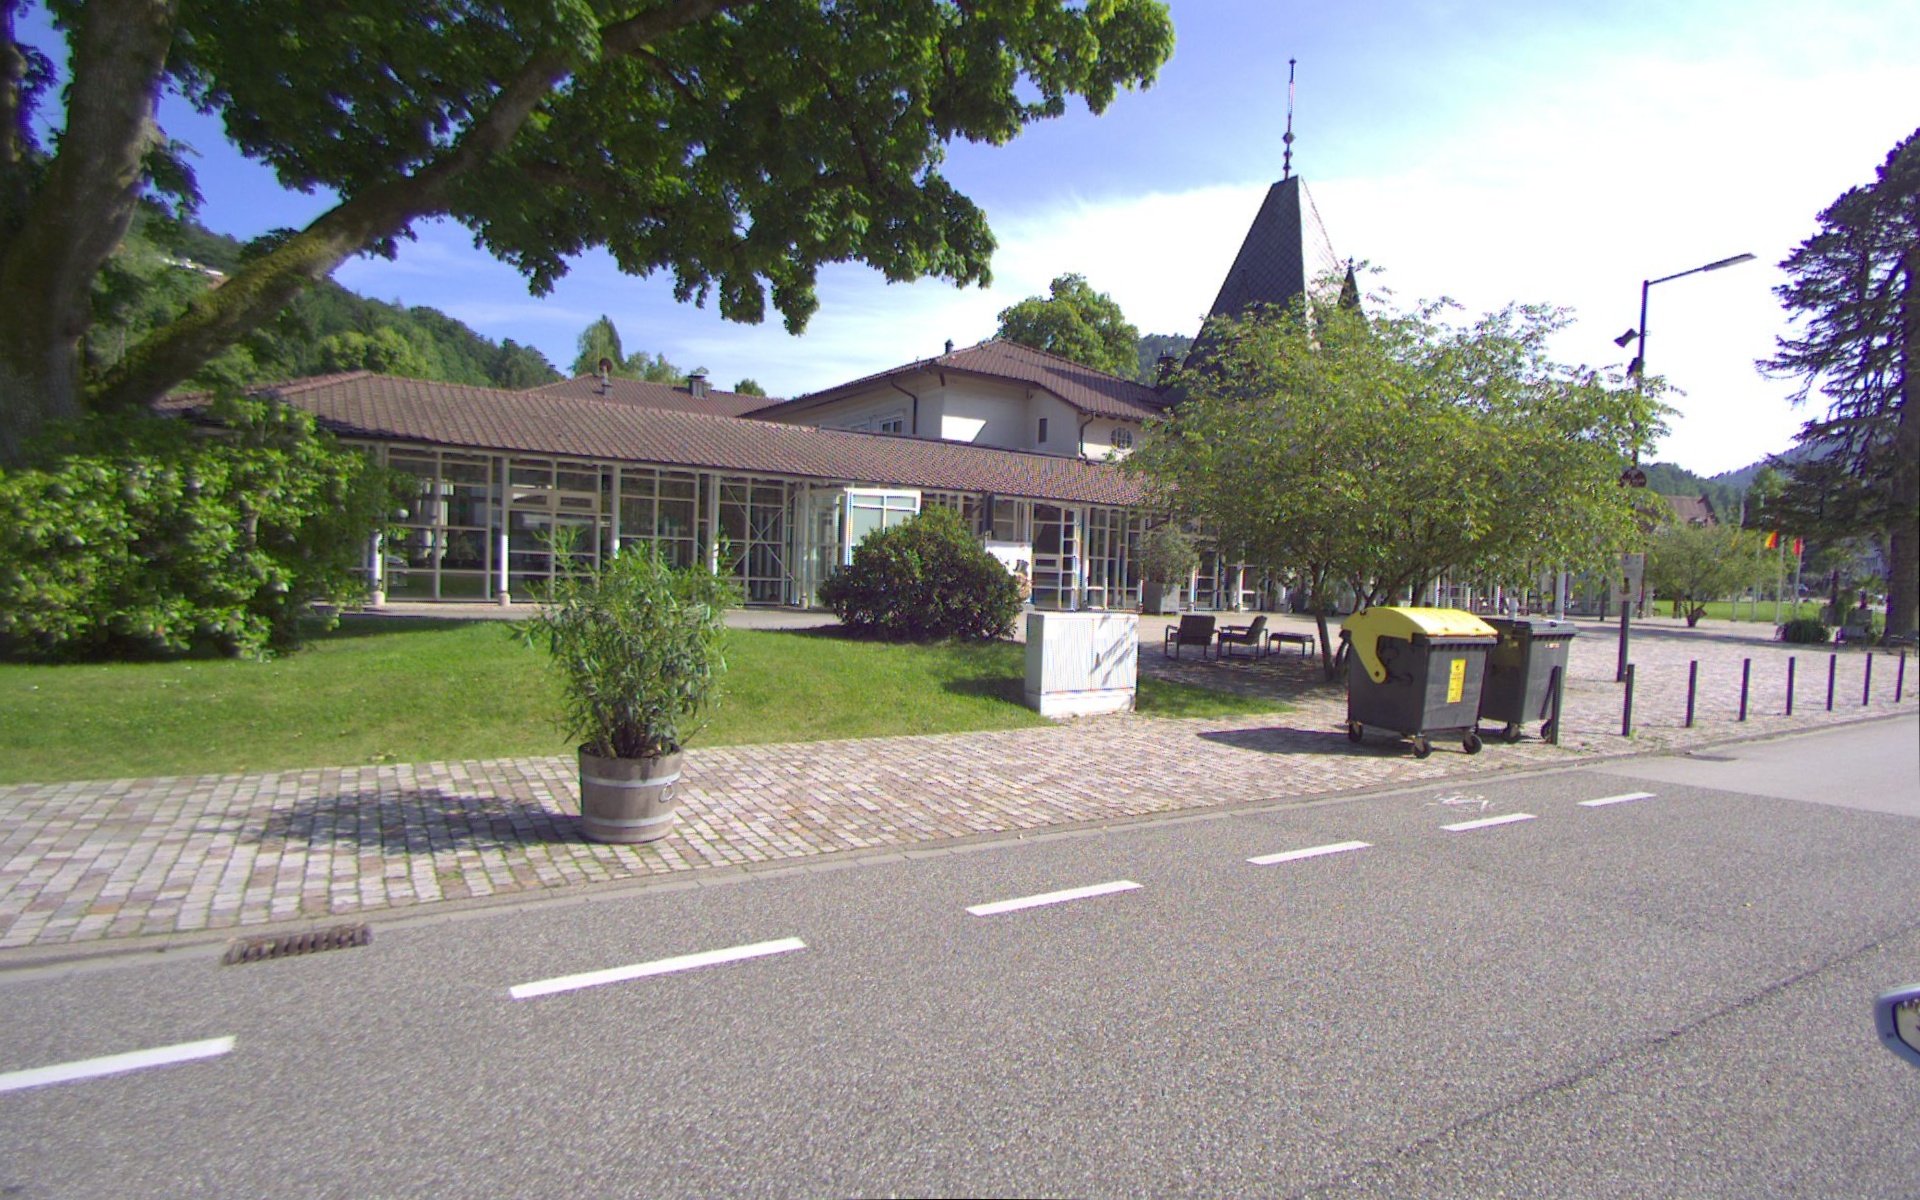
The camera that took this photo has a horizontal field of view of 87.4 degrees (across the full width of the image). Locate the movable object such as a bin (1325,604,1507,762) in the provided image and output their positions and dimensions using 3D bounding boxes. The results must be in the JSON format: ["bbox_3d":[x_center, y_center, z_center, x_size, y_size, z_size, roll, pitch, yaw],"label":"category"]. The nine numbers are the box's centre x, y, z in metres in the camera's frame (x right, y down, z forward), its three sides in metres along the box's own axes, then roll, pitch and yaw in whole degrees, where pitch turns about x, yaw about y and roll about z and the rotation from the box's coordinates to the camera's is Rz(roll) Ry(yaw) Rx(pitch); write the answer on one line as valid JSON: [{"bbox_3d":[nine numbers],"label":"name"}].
[{"bbox_3d":[4.763,0.816,10.519,1.362,1.447,1.072,1,4,-33],"label":"movable object such as a bin"}]

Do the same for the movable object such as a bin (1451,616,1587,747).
[{"bbox_3d":[6.406,0.896,11.513,1.280,1.360,0.750,1,4,-33],"label":"movable object such as a bin"}]
